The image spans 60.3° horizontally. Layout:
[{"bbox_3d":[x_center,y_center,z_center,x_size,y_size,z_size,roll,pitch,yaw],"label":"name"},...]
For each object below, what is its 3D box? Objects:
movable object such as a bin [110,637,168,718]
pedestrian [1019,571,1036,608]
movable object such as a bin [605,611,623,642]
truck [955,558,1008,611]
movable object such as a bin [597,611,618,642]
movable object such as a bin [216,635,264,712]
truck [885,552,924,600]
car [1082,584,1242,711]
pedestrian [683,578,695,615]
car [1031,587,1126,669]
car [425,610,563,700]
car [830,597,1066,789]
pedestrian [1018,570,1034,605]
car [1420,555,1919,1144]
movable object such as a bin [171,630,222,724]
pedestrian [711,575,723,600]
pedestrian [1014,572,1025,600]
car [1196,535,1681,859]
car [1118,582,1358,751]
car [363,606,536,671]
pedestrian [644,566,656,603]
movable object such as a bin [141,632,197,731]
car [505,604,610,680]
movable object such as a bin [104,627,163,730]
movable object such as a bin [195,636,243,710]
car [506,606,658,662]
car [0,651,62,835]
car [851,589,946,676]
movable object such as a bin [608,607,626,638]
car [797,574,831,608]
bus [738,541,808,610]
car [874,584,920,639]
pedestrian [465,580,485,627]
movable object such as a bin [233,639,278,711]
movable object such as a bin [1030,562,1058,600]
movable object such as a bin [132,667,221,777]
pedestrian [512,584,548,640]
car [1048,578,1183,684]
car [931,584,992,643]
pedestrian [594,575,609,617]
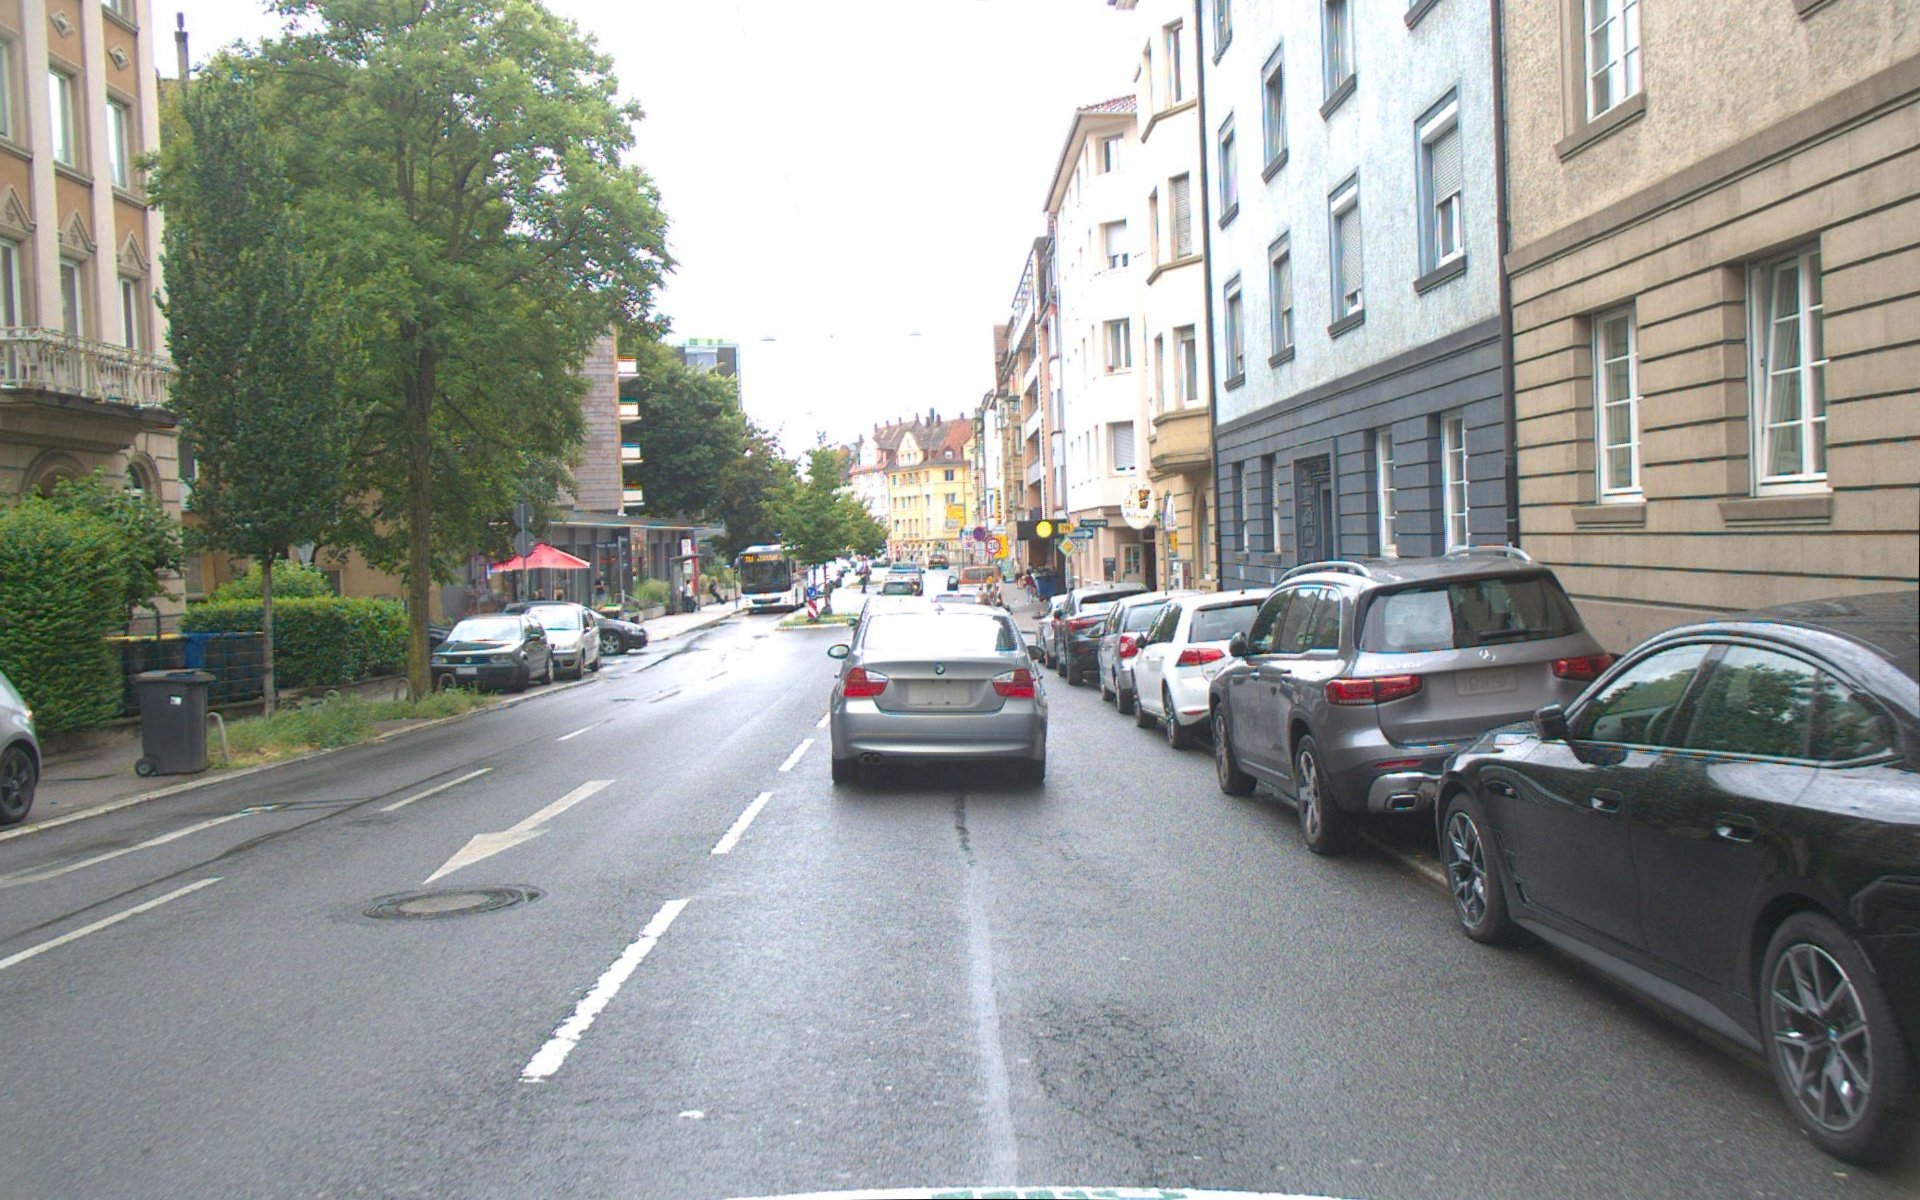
[{"bbox_3d":[-11.152,1.046,22.476,0.430,1.057,0.650,-2,0,-2],"label":"movable object such as a bin"},{"bbox_3d":[3.162,-0.495,77.293,0.734,1.690,0.754,1,-1,1],"label":"pedestrian"},{"bbox_3d":[-12.579,0.957,60.117,0.480,1.100,0.606,-3,-1,-1],"label":"movable object such as a bin"},{"bbox_3d":[0.960,-0.658,72.030,2.170,2.154,4.653,2,0,1],"label":"truck"},{"bbox_3d":[-12.607,0.942,59.153,0.542,1.100,0.731,-3,-1,-1],"label":"movable object such as a bin"},{"bbox_3d":[-11.175,1.129,25.695,0.430,1.150,0.657,-2,0,-2],"label":"movable object such as a bin"},{"bbox_3d":[-3.206,-1.355,95.809,2.172,2.589,4.777,1,-1,-2],"label":"truck"},{"bbox_3d":[2.664,0.577,22.490,1.551,1.454,3.594,-5,1,-1],"label":"car"},{"bbox_3d":[-12.955,-0.172,79.075,0.532,1.739,0.465,1,-1,-8],"label":"pedestrian"},{"bbox_3d":[2.392,0.536,34.239,1.537,1.489,4.088,-4,0,-1],"label":"car"},{"bbox_3d":[-8.738,0.988,31.332,1.621,1.479,3.940,-2,0,-3],"label":"car"},{"bbox_3d":[-0.120,0.696,13.712,1.720,1.386,3.163,-1,-1,-1],"label":"car"},{"bbox_3d":[3.251,-0.631,81.610,0.733,1.690,0.837,1,-1,5],"label":"pedestrian"},{"bbox_3d":[3.234,0.598,5.764,1.804,1.433,4.386,-4,0,-2],"label":"car"},{"bbox_3d":[-11.187,1.122,24.243,0.430,1.331,0.609,-2,0,-2],"label":"movable object such as a bin"},{"bbox_3d":[-13.946,-0.732,94.978,0.607,1.402,0.544,1,-1,0],"label":"pedestrian"},{"bbox_3d":[3.609,-0.832,100.143,0.602,1.690,0.755,1,-1,5],"label":"pedestrian"},{"bbox_3d":[2.904,0.528,11.077,1.804,1.649,4.206,-3,0,-2],"label":"car"},{"bbox_3d":[2.815,0.611,17.590,1.695,1.454,3.972,-5,1,-1],"label":"car"},{"bbox_3d":[-12.859,0.952,41.800,3.737,1.413,1.743,-2,2,1],"label":"car"},{"bbox_3d":[-15.406,-0.754,82.156,0.533,1.821,0.507,1,-1,-10],"label":"pedestrian"},{"bbox_3d":[-11.166,1.141,23.361,0.430,1.331,0.650,-2,0,-2],"label":"movable object such as a bin"},{"bbox_3d":[-8.663,0.869,35.875,1.600,1.479,3.836,-2,0,-5],"label":"car"},{"bbox_3d":[-11.108,1.047,22.251,0.430,1.322,0.650,-2,0,-2],"label":"movable object such as a bin"},{"bbox_3d":[-11.191,1.096,24.988,0.417,1.059,0.650,-2,0,-2],"label":"movable object such as a bin"},{"bbox_3d":[-10.187,0.912,44.742,3.739,1.414,1.742,-1,-1,-2],"label":"car"},{"bbox_3d":[-8.359,1.158,11.915,1.648,1.414,3.935,-1,0,-1],"label":"car"},{"bbox_3d":[-1.117,0.564,29.307,1.570,1.445,3.285,1,-1,-4],"label":"car"},{"bbox_3d":[-12.670,0.833,61.090,0.480,1.100,0.606,-3,-1,-1],"label":"movable object such as a bin"},{"bbox_3d":[-9.287,-0.552,105.395,1.953,2.049,3.998,1,-1,-2],"label":"car"},{"bbox_3d":[-9.476,-1.131,85.017,2.627,3.257,11.950,1,-1,-2],"label":"bus"},{"bbox_3d":[-2.503,0.449,64.745,1.671,2.049,3.997,1,-1,-4],"label":"car"},{"bbox_3d":[-19.578,0.149,66.698,0.626,1.847,0.633,-2,1,-26],"label":"pedestrian"},{"bbox_3d":[-11.229,1.195,26.383,0.430,1.100,0.589,-2,0,-2],"label":"movable object such as a bin"},{"bbox_3d":[3.995,-0.911,79.060,1.100,1.732,1.433,-3,-1,-4],"label":"movable object such as a bin"},{"bbox_3d":[-8.160,1.264,17.244,0.617,1.076,0.600,-2,-1,-1],"label":"movable object such as a bin"},{"bbox_3d":[-14.009,0.385,53.892,1.043,1.761,0.712,-1,1,-11],"label":"pedestrian"},{"bbox_3d":[2.603,0.481,28.639,1.781,1.584,4.292,-4,0,-1],"label":"car"},{"bbox_3d":[0.043,0.337,41.018,1.406,1.380,3.762,1,-1,0],"label":"car"},{"bbox_3d":[-15.674,-0.177,72.298,0.455,1.821,0.545,1,-1,6],"label":"pedestrian"}]
